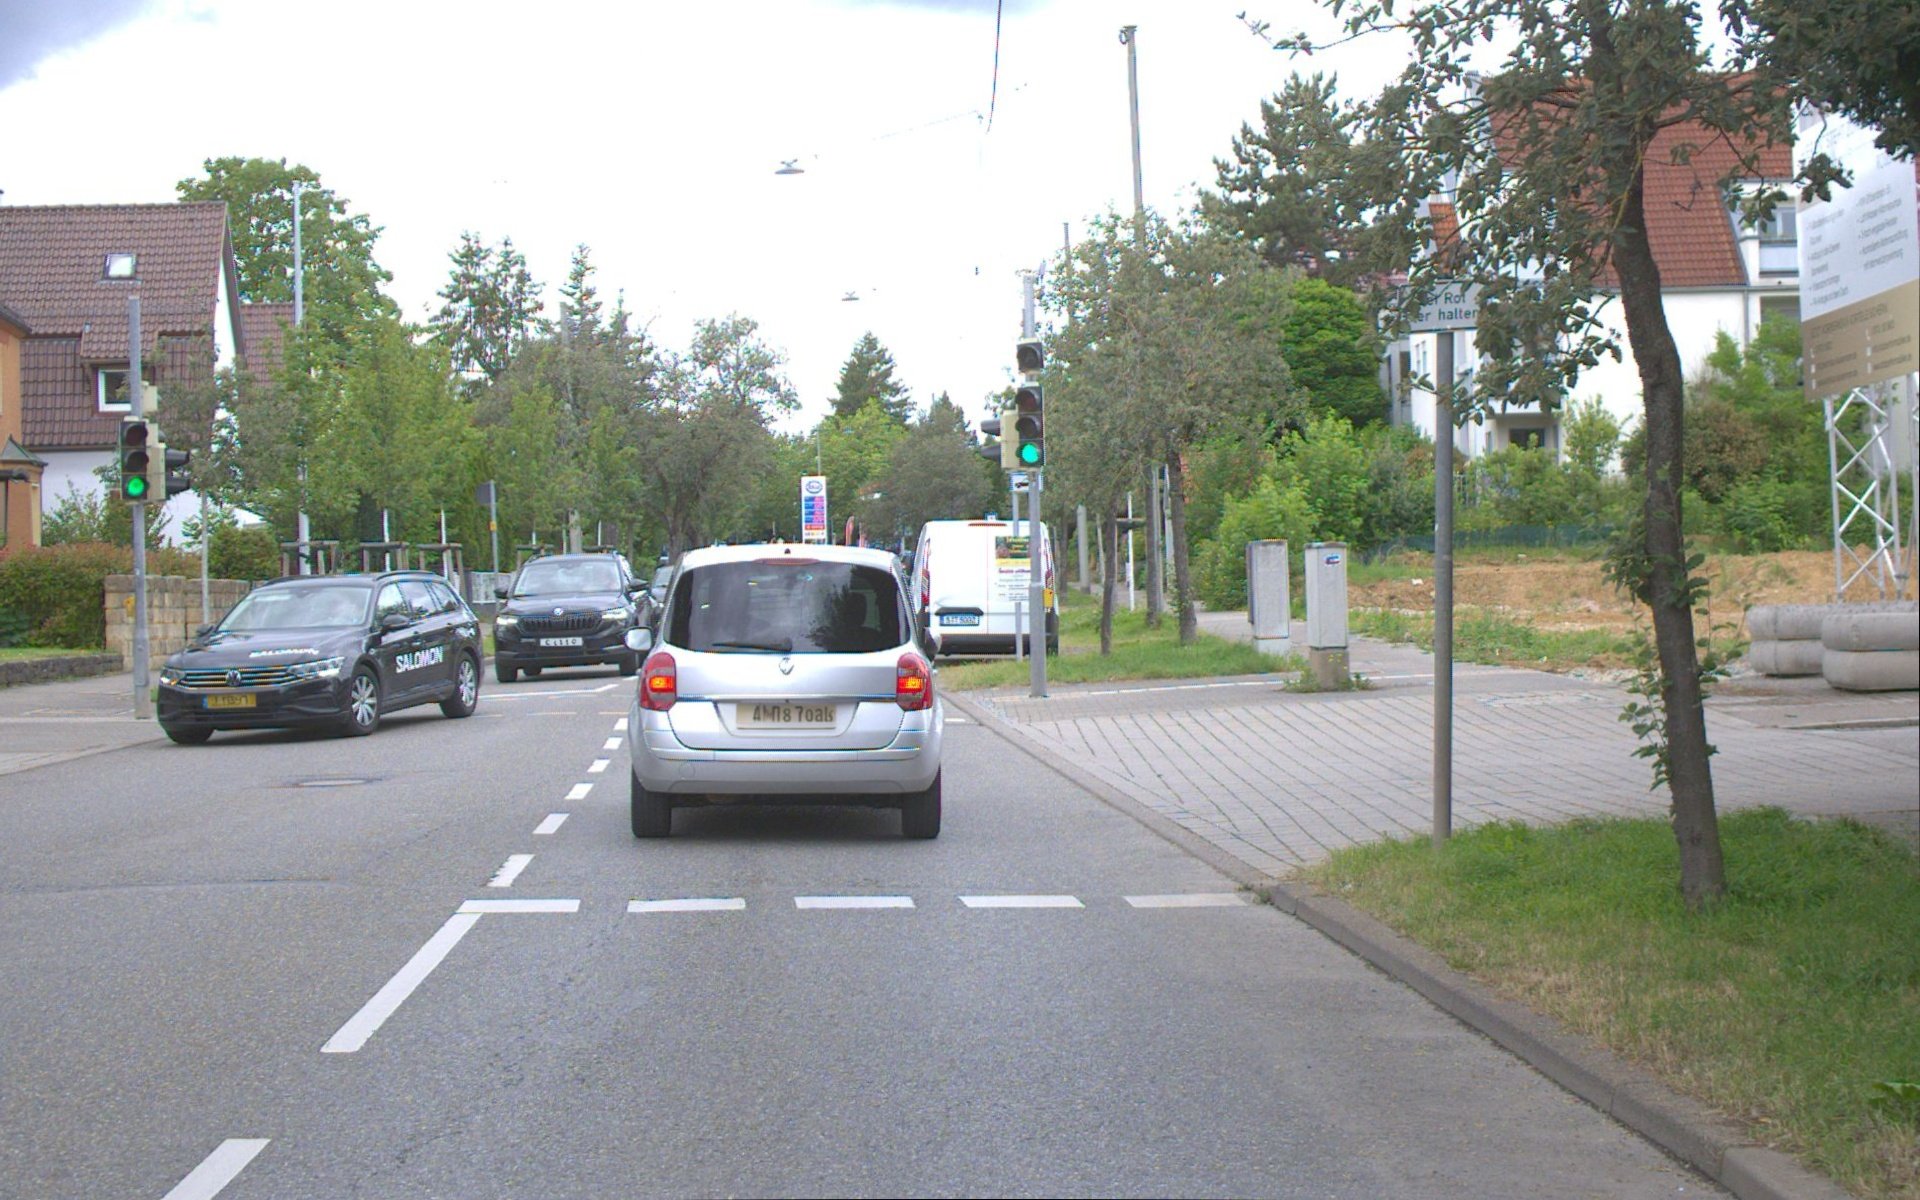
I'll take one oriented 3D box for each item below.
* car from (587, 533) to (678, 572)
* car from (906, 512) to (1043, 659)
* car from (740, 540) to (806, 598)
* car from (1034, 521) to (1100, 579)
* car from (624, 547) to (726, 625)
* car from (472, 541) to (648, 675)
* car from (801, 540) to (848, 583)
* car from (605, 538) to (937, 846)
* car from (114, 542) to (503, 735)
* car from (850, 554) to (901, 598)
[{"bbox_3d":[-15.410,-2.238,162.076,4.086,1.700,1.747,-2,1,0],"label":"car"},{"bbox_3d":[0.152,-0.235,47.848,1.775,1.937,4.789,0,1,-1],"label":"car"},{"bbox_3d":[-5.788,-0.968,106.970,1.814,1.687,4.466,-3,1,-1],"label":"car"},{"bbox_3d":[3.408,-1.595,110.222,1.830,1.706,4.549,-4,1,0],"label":"car"},{"bbox_3d":[-5.667,-0.305,68.766,1.616,1.467,4.000,-2,1,1],"label":"car"},{"bbox_3d":[-5.222,0.066,45.328,1.895,1.619,4.000,-2,1,-1],"label":"car"},{"bbox_3d":[-5.840,-1.669,148.350,1.795,1.746,4.299,-2,1,0],"label":"car"},{"bbox_3d":[-0.982,0.451,19.325,1.679,1.554,3.512,1,1,0],"label":"car"},{"bbox_3d":[-5.942,0.300,31.990,1.994,1.615,4.646,-1,1,10],"label":"car"},{"bbox_3d":[-3.532,-1.020,143.383,1.835,1.708,4.001,-3,1,-5],"label":"car"}]
